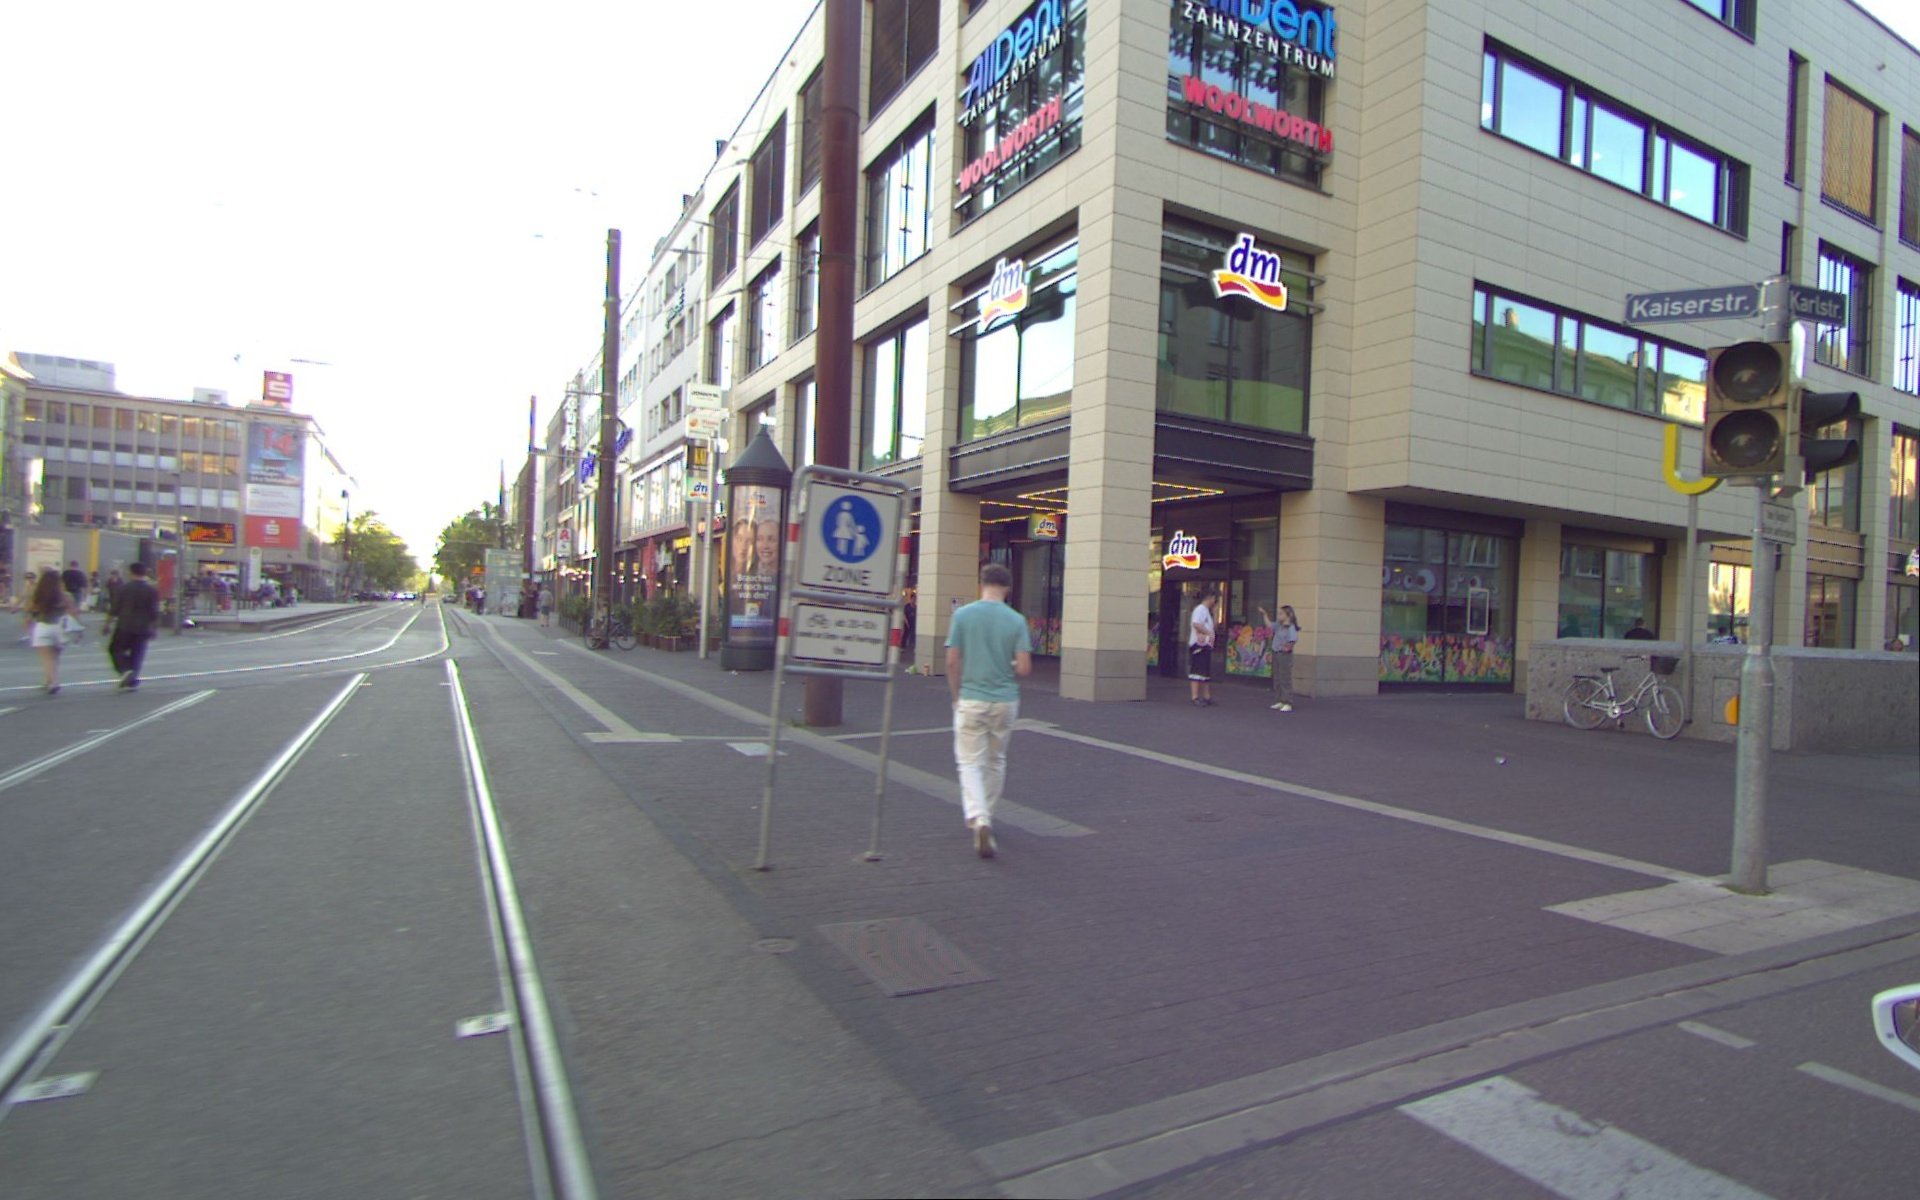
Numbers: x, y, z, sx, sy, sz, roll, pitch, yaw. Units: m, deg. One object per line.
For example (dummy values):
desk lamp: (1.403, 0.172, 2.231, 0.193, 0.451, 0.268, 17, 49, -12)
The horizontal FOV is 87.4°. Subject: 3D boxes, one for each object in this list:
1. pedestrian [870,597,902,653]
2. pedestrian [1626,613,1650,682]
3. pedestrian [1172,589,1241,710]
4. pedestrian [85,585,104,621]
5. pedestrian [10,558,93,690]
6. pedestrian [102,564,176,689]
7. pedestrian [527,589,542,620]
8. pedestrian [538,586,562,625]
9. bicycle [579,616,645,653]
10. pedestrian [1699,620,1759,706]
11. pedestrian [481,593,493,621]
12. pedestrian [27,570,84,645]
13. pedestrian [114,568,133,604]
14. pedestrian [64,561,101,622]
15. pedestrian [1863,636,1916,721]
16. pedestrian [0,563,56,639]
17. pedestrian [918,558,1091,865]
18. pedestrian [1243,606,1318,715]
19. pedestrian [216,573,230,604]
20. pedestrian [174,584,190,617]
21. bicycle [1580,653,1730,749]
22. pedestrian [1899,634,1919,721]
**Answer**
pedestrian: (-2.329, 0.777, 31.633, 0.675, 1.702, 0.810, 3, 1, -27)
pedestrian: (15.339, 1.067, 22.728, 0.384, 1.535, 0.504, 2, 0, 34)
pedestrian: (3.966, 0.788, 16.159, 0.803, 1.879, 0.572, 3, 1, -16)
pedestrian: (-32.263, 0.099, 37.435, 0.447, 1.317, 0.426, 2, 2, -34)
pedestrian: (-11.930, 0.316, 13.204, 0.642, 1.696, 0.526, 2, 0, -27)
pedestrian: (-11.382, 0.367, 13.942, 0.642, 1.696, 0.526, 2, 0, -28)
pedestrian: (-23.117, 0.254, 54.562, 0.676, 1.658, 0.581, 3, -1, -27)
pedestrian: (-18.154, 0.243, 44.458, 0.889, 1.658, 0.947, 3, -1, -25)
bicycle: (-10.687, 1.059, 30.867, 1.888, 0.999, 0.451, 3, 1, 7)
pedestrian: (16.652, 1.354, 21.759, 0.593, 1.774, 0.778, 2, 1, -31)
pedestrian: (-29.438, 0.455, 62.515, 0.642, 1.696, 0.526, 2, 0, -27)
pedestrian: (-20.427, 0.175, 22.696, 0.573, 1.658, 0.685, 2, -1, 6)
pedestrian: (-31.881, -0.535, 38.282, 0.447, 1.317, 0.426, 2, 2, -34)
pedestrian: (-25.251, -0.244, 28.898, 0.642, 1.696, 0.526, 2, 0, -27)
pedestrian: (19.158, 1.609, 20.713, 0.540, 1.668, 0.596, 2, 1, -31)
pedestrian: (-21.060, 0.032, 22.699, 0.573, 1.658, 0.685, 2, -1, 6)
pedestrian: (0.304, 0.657, 6.429, 0.851, 1.784, 0.768, 3, 1, 16)
pedestrian: (5.208, 0.971, 16.350, 0.803, 1.681, 0.766, 3, 1, -14)
pedestrian: (-32.630, -0.503, 44.476, 0.447, 1.338, 0.426, 2, 2, -34)
pedestrian: (-32.690, 0.018, 42.226, 0.447, 1.317, 0.426, 2, 2, -34)
bicycle: (9.731, 1.388, 14.143, 0.445, 1.136, 1.690, 3, 1, -25)
pedestrian: (19.303, 1.561, 19.994, 0.593, 1.703, 0.677, 2, 1, -31)
